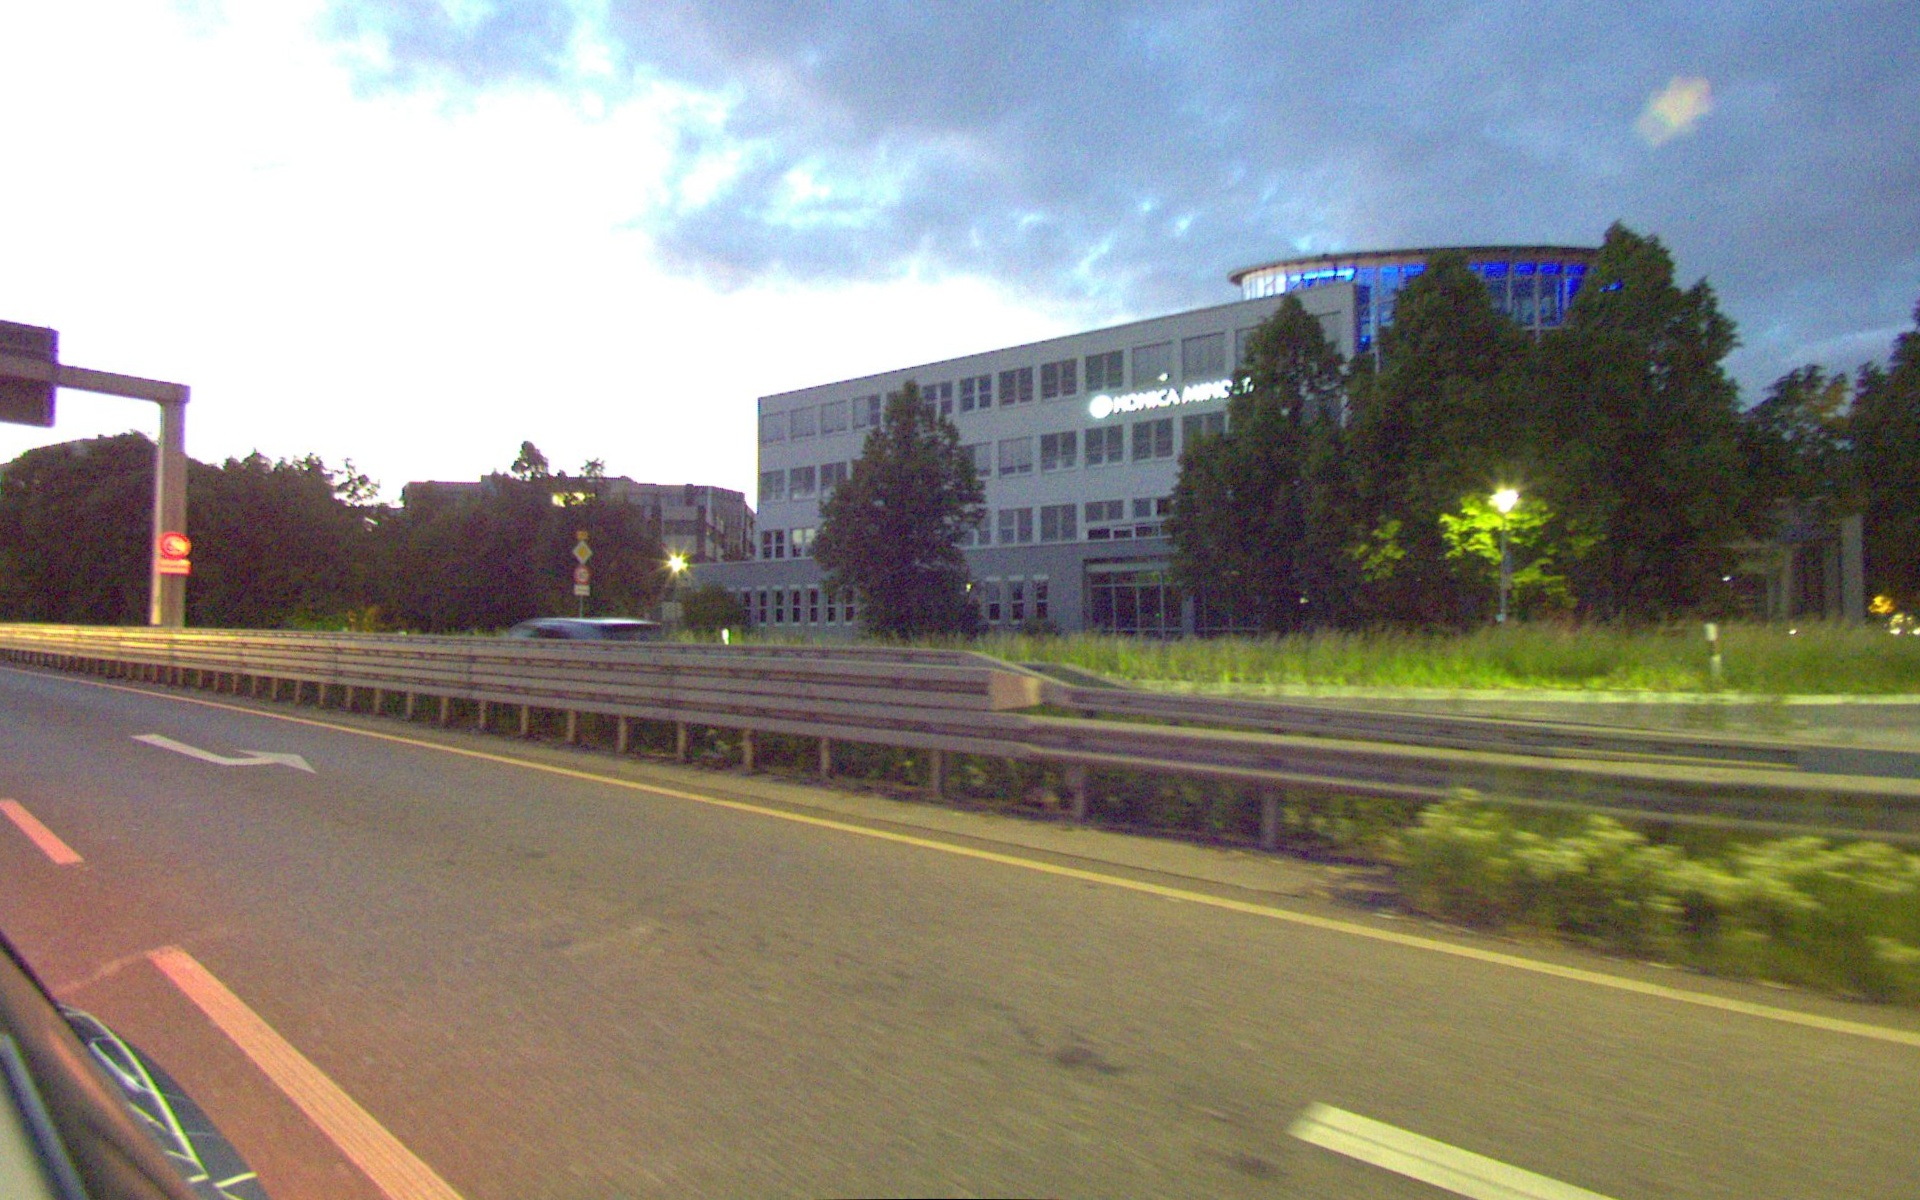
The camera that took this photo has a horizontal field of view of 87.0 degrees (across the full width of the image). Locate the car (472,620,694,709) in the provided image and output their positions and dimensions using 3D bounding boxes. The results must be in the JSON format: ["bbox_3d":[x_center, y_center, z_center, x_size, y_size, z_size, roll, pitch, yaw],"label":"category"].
[{"bbox_3d":[-7.329,1.151,19.473,4.678,1.493,1.973,-1,-1,40],"label":"car"}]
